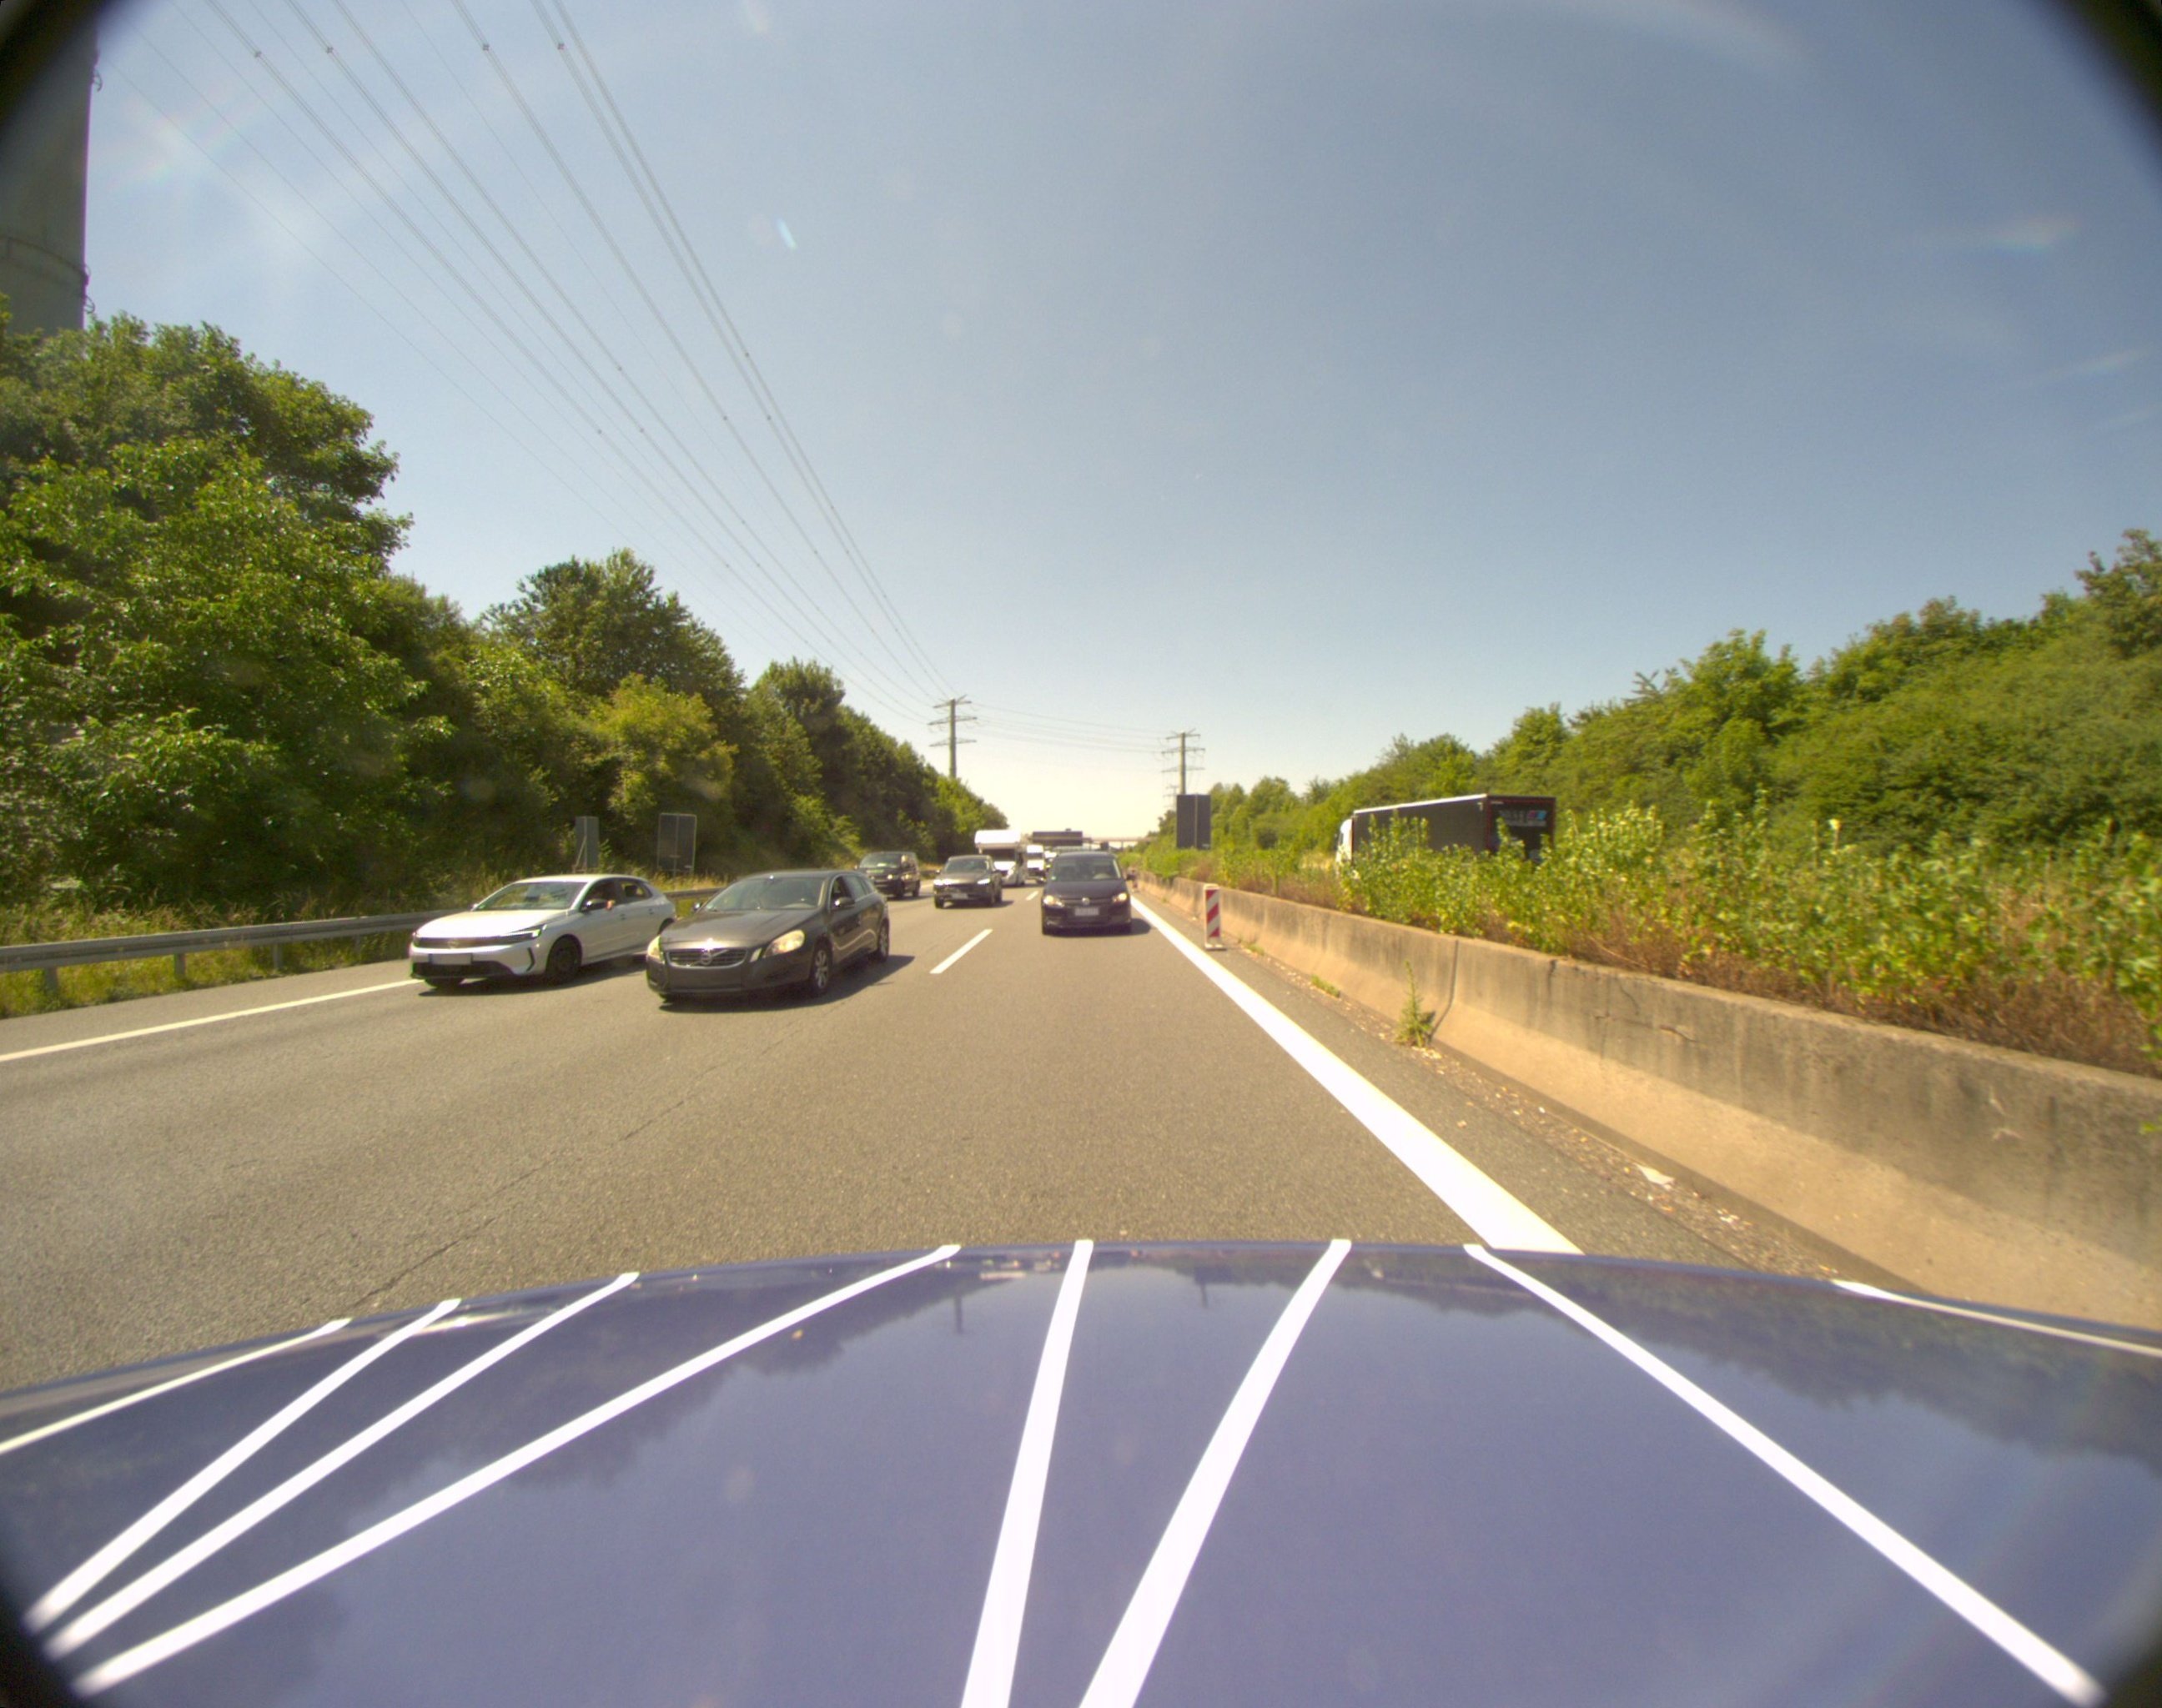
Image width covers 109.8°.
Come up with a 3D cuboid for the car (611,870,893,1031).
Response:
[{"bbox_3d":[-3.821,1.019,9.754,1.801,1.429,4.230,-2,1,-1],"label":"car"}]

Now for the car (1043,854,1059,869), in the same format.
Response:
[{"bbox_3d":[-3.693,0.922,94.348,1.892,1.693,4.382,-2,1,-1],"label":"car"}]

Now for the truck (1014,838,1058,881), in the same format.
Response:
[{"bbox_3d":[-3.383,0.328,59.612,2.514,2.997,9.897,-2,1,1],"label":"truck"}]

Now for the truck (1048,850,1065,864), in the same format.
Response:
[{"bbox_3d":[-3.968,0.436,126.274,2.409,2.203,6.743,-2,1,1],"label":"truck"}]

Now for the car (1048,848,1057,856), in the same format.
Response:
[{"bbox_3d":[-7.646,-0.570,202.743,1.998,2.002,4.000,-2,1,1],"label":"car"}]

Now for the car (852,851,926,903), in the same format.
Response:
[{"bbox_3d":[-7.781,0.867,31.297,1.788,1.893,4.697,-2,1,0],"label":"car"}]

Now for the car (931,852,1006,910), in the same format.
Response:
[{"bbox_3d":[-3.662,0.821,25.413,1.892,1.693,4.382,-2,1,-1],"label":"car"}]

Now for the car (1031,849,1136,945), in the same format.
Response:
[{"bbox_3d":[0.001,0.782,16.262,1.892,1.693,4.382,-2,1,-1],"label":"car"}]

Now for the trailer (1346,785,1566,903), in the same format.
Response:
[{"bbox_3d":[15.879,-0.404,34.244,2.760,4.143,14.195,2,0,0],"label":"trailer"}]

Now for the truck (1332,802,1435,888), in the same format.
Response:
[{"bbox_3d":[15.912,-0.453,40.527,2.758,4.143,6.410,2,1,0],"label":"truck"}]

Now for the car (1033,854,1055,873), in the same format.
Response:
[{"bbox_3d":[-3.395,0.851,71.208,1.892,1.693,4.382,-2,1,-1],"label":"car"}]

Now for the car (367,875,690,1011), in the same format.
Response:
[{"bbox_3d":[-7.687,1.125,11.169,1.745,1.461,4.014,-2,0,0],"label":"car"}]

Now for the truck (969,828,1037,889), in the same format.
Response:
[{"bbox_3d":[-4.227,0.169,43.304,2.514,2.997,9.897,-2,1,1],"label":"truck"}]

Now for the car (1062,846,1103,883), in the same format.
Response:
[{"bbox_3d":[0.023,0.478,37.927,1.892,1.693,4.382,-2,1,-1],"label":"car"}]
